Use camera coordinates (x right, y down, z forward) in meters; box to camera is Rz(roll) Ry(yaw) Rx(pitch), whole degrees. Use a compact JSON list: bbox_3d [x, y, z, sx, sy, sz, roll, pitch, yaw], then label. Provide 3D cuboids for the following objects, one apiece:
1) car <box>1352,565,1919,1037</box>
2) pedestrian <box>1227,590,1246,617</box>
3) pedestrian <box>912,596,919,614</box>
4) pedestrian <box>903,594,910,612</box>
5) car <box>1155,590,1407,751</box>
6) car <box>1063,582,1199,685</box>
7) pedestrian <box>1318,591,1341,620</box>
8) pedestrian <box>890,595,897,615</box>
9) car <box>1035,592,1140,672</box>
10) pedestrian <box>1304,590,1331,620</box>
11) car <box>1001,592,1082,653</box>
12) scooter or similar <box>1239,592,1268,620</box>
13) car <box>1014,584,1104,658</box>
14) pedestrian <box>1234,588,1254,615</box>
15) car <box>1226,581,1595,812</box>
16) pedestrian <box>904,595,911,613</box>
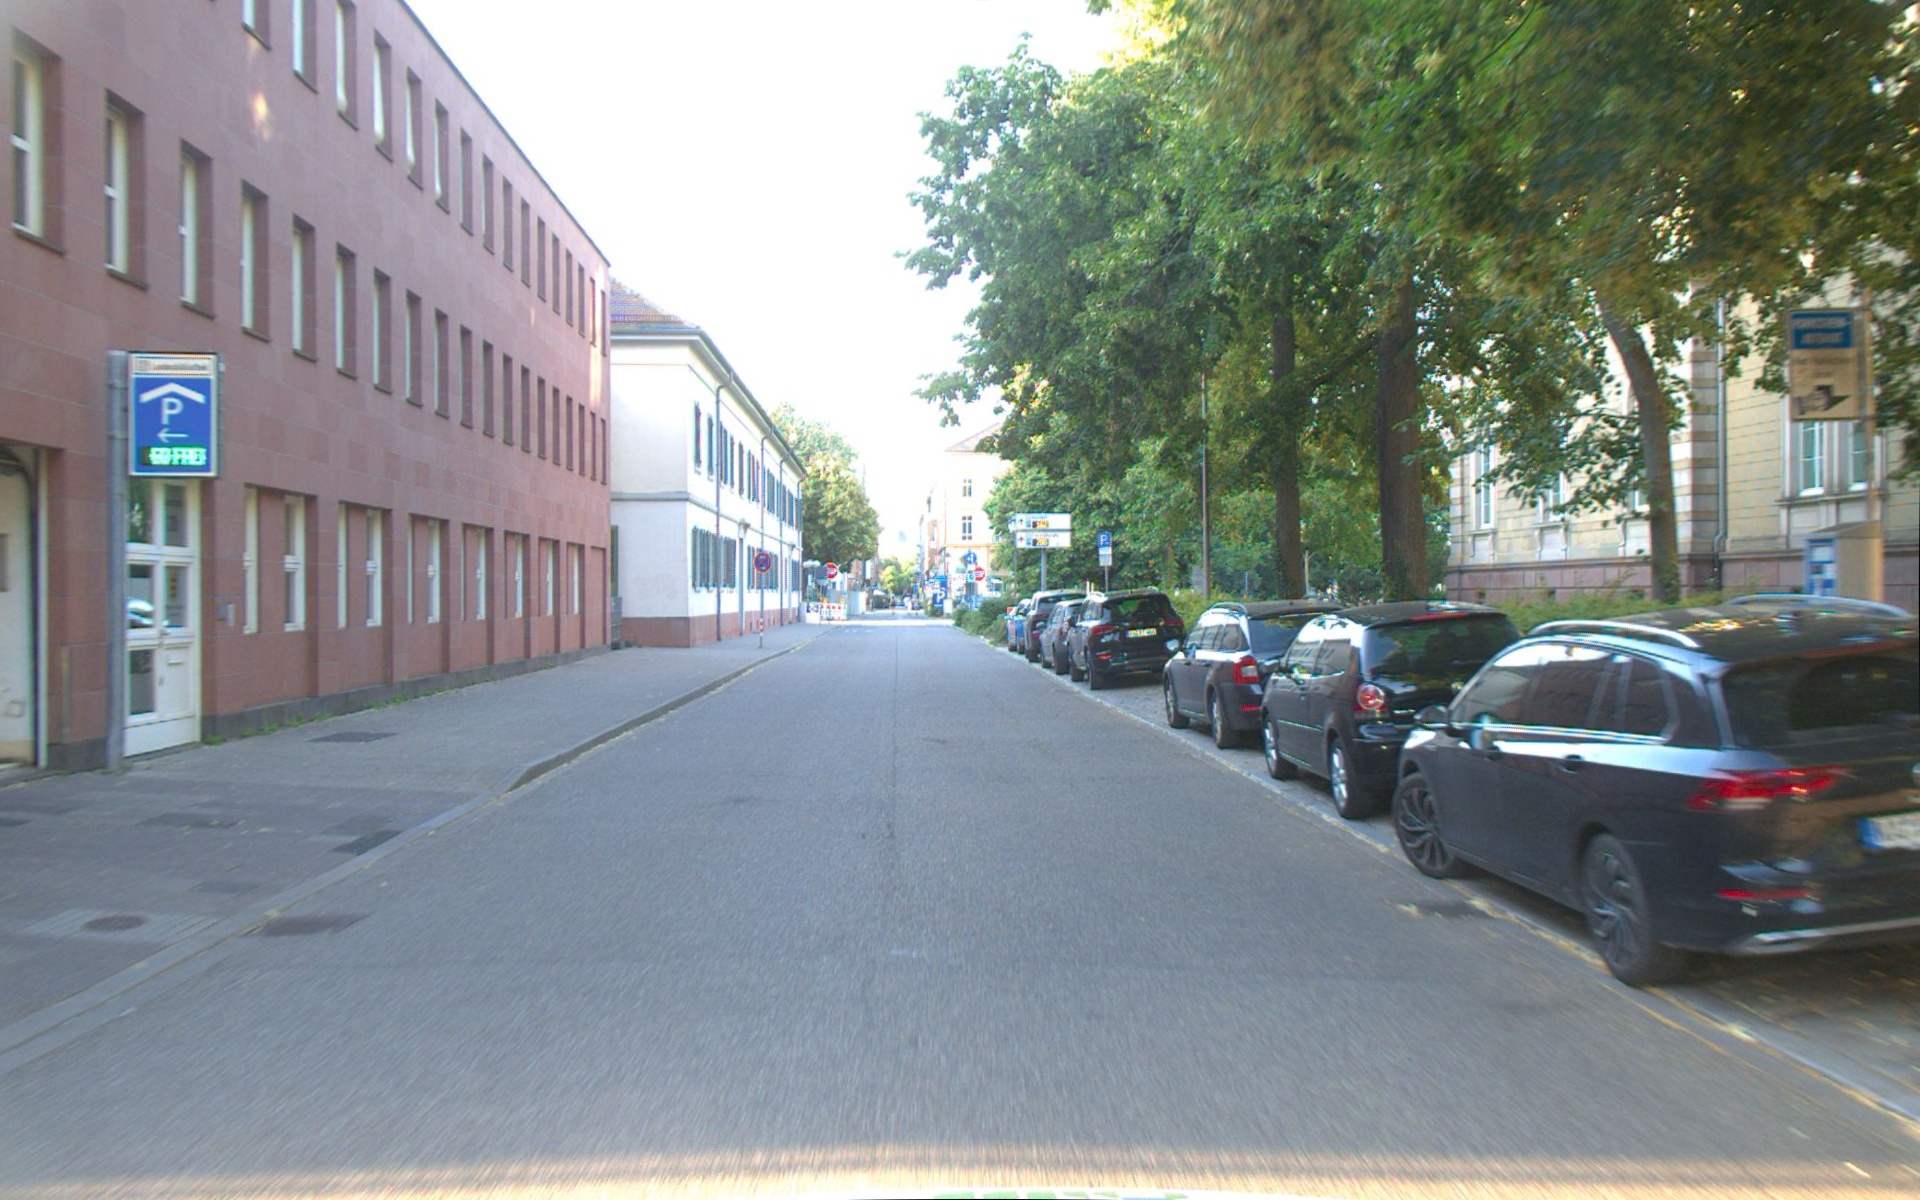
[{"bbox_3d":[3.484,0.708,8.178,1.690,1.560,4.620,-5,0,-3],"label":"car"},{"bbox_3d":[12.463,0.174,74.647,0.649,1.212,0.795,-1,0,25],"label":"pedestrian"},{"bbox_3d":[-4.038,0.477,151.167,0.644,1.645,0.745,-1,0,-2],"label":"pedestrian"},{"bbox_3d":[-4.944,0.270,153.039,0.644,1.664,0.745,-1,0,-2],"label":"pedestrian"},{"bbox_3d":[3.381,0.706,18.299,1.700,1.533,4.519,-1,-1,-3],"label":"car"},{"bbox_3d":[2.989,0.589,29.713,1.771,1.680,4.416,-1,-1,-3],"label":"car"},{"bbox_3d":[17.408,0.260,77.951,0.747,1.371,0.784,-1,0,-19],"label":"pedestrian"},{"bbox_3d":[-6.157,0.451,153.076,0.644,1.790,0.745,-1,0,-2],"label":"pedestrian"},{"bbox_3d":[2.638,0.664,35.078,1.689,1.565,4.187,-1,-1,-3],"label":"car"},{"bbox_3d":[16.696,0.233,77.350,0.902,1.371,0.880,-1,0,-18],"label":"pedestrian"},{"bbox_3d":[2.264,0.617,46.802,1.690,1.514,4.607,-4,0,-4],"label":"car"},{"bbox_3d":[13.261,0.266,74.698,1.198,1.267,0.416,-1,0,-19],"label":"scooter or similar"},{"bbox_3d":[2.379,0.513,40.740,1.689,1.680,4.710,-1,-1,-3],"label":"car"},{"bbox_3d":[12.967,0.069,75.578,0.790,1.212,0.789,-1,0,1],"label":"pedestrian"},{"bbox_3d":[3.458,0.688,13.543,1.689,1.560,4.187,-1,-1,-3],"label":"car"},{"bbox_3d":[-4.780,0.388,151.140,0.644,1.645,0.745,-1,0,-2],"label":"pedestrian"}]
